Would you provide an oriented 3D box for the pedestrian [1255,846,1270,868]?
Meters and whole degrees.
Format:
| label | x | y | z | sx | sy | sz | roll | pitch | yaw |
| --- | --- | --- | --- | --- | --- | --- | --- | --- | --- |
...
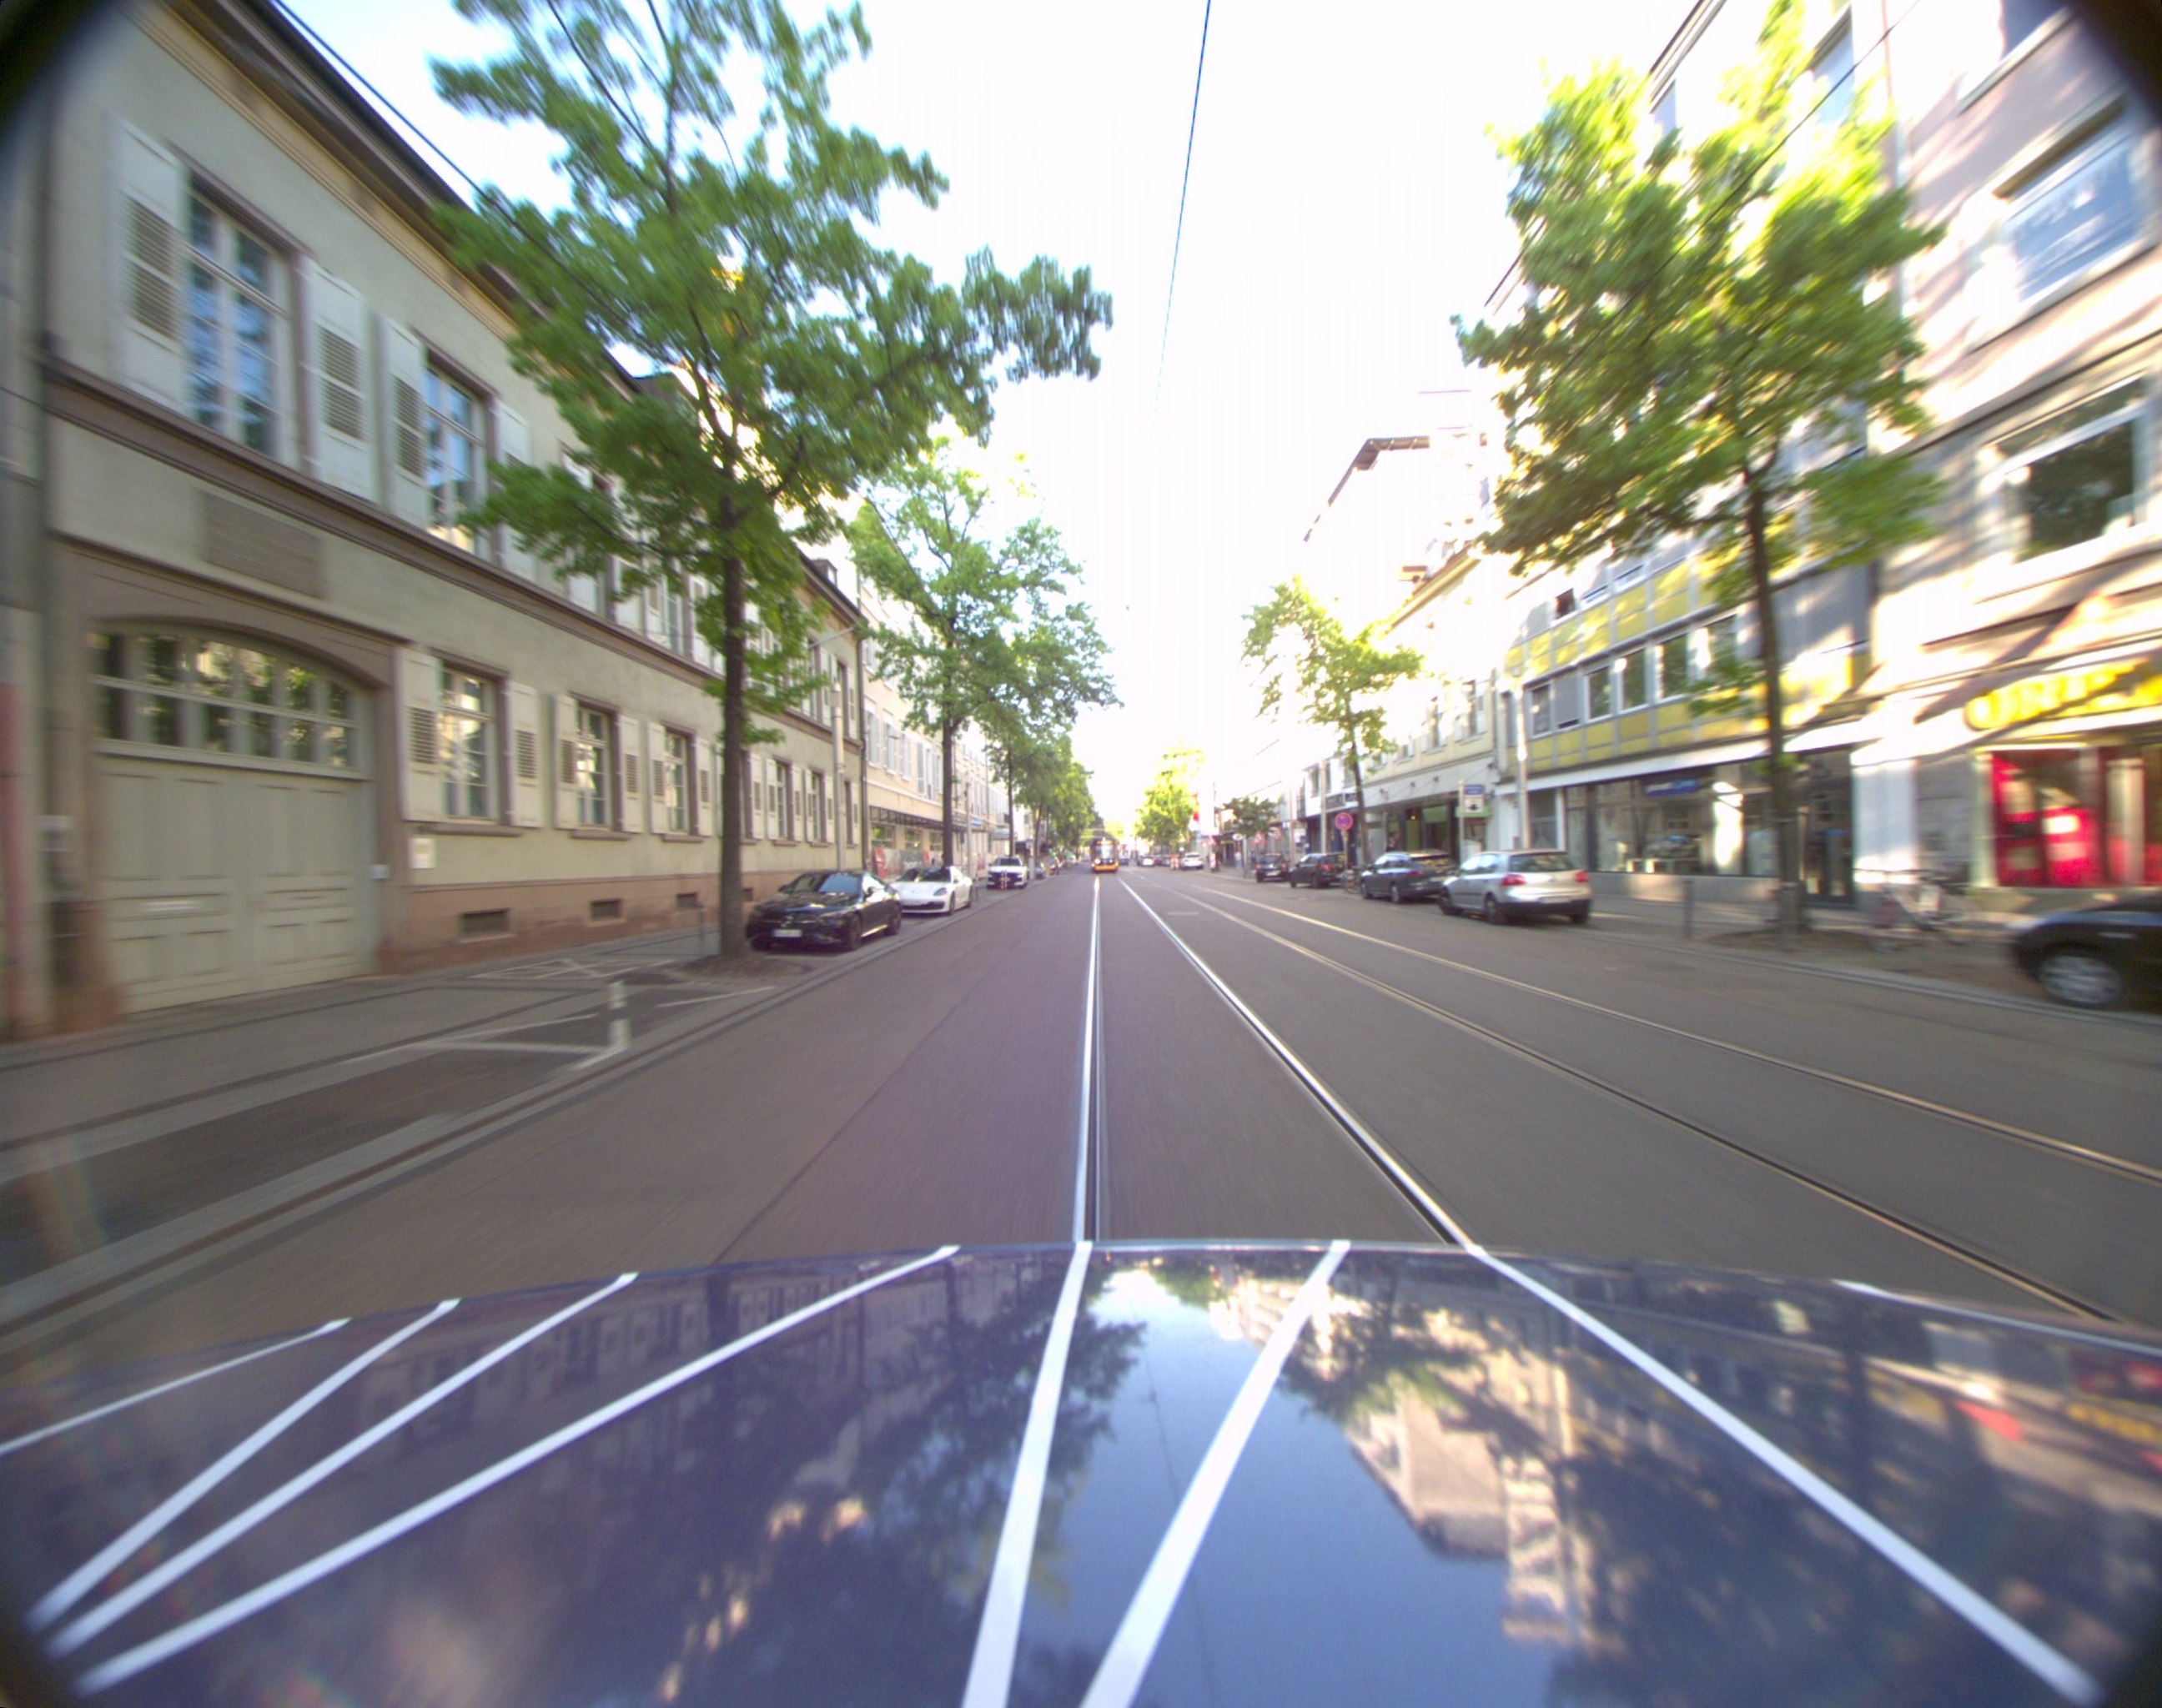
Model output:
| label | x | y | z | sx | sy | sz | roll | pitch | yaw |
| --- | --- | --- | --- | --- | --- | --- | --- | --- | --- |
| pedestrian | 14.119 | 0.231 | 59.238 | 0.834 | 1.685 | 1.038 | -4 | 0 | 2 |

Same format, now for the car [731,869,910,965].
| label | x | y | z | sx | sy | sz | roll | pitch | yaw |
| --- | --- | --- | --- | --- | --- | --- | --- | --- | --- |
| car | -4.863 | 1.088 | 14.976 | 1.837 | 1.469 | 4.761 | 0 | 0 | 1 |

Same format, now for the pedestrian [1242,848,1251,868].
| label | x | y | z | sx | sy | sz | roll | pitch | yaw |
| --- | --- | --- | --- | --- | --- | --- | --- | --- | --- |
| pedestrian | 14.249 | 0.326 | 65.497 | 0.628 | 1.703 | 0.808 | -3 | 0 | 5 |

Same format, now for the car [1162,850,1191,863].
| label | x | y | z | sx | sy | sz | roll | pitch | yaw |
| --- | --- | --- | --- | --- | --- | --- | --- | --- | --- |
| car | 13.136 | 0.389 | 104.460 | 3.403 | 1.551 | 1.786 | -5 | 1 | -21 |

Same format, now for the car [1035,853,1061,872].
| label | x | y | z | sx | sy | sz | roll | pitch | yaw |
| --- | --- | --- | --- | --- | --- | --- | --- | --- | --- |
| car | -3.193 | 0.760 | 73.941 | 1.956 | 1.782 | 4.317 | 0 | 0 | 5 |

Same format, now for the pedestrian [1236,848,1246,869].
| label | x | y | z | sx | sy | sz | roll | pitch | yaw |
| --- | --- | --- | --- | --- | --- | --- | --- | --- | --- |
| pedestrian | 13.372 | 0.370 | 63.612 | 0.643 | 1.703 | 0.829 | -3 | 0 | 5 |

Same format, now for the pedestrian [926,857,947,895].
| label | x | y | z | sx | sy | sz | roll | pitch | yaw |
| --- | --- | --- | --- | --- | --- | --- | --- | --- | --- |
| pedestrian | -6.150 | 0.929 | 32.347 | 0.650 | 1.564 | 0.798 | -2 | 1 | 1 |

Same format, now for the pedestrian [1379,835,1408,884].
| label | x | y | z | sx | sy | sz | roll | pitch | yaw |
| --- | --- | --- | --- | --- | --- | --- | --- | --- | --- |
| pedestrian | 12.166 | 0.220 | 29.577 | 0.661 | 1.815 | 0.878 | -4 | 0 | 2 |

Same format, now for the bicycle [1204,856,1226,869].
| label | x | y | z | sx | sy | sz | roll | pitch | yaw |
| --- | --- | --- | --- | --- | --- | --- | --- | --- | --- |
| bicycle | 11.597 | 0.737 | 65.806 | 1.748 | 0.986 | 0.478 | -5 | 0 | 9 |

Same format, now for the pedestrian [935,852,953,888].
| label | x | y | z | sx | sy | sz | roll | pitch | yaw |
| --- | --- | --- | --- | --- | --- | --- | --- | --- | --- |
| pedestrian | -7.215 | 0.826 | 40.110 | 0.714 | 1.876 | 1.053 | 0 | 0 | 2 |

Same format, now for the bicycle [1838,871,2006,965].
| label | x | y | z | sx | sy | sz | roll | pitch | yaw |
| --- | --- | --- | --- | --- | --- | --- | --- | --- | --- |
| bicycle | 10.637 | 0.792 | 9.621 | 1.815 | 1.058 | 0.440 | -3 | 1 | -7 |

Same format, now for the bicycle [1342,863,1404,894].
| label | x | y | z | sx | sy | sz | roll | pitch | yaw |
| --- | --- | --- | --- | --- | --- | --- | --- | --- | --- |
| bicycle | 10.056 | 0.858 | 26.190 | 1.975 | 0.995 | 0.330 | -2 | 1 | 4 |

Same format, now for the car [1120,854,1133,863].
| label | x | y | z | sx | sy | sz | roll | pitch | yaw |
| --- | --- | --- | --- | --- | --- | --- | --- | --- | --- |
| car | 7.271 | 0.652 | 121.706 | 1.783 | 1.399 | 4.528 | -2 | 0 | 2 |

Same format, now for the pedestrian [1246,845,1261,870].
| label | x | y | z | sx | sy | sz | roll | pitch | yaw |
| --- | --- | --- | --- | --- | --- | --- | --- | --- | --- |
| pedestrian | 12.692 | 0.261 | 56.037 | 0.853 | 1.756 | 0.832 | -2 | 0 | -1 |

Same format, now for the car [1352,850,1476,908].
| label | x | y | z | sx | sy | sz | roll | pitch | yaw |
| --- | --- | --- | --- | --- | --- | --- | --- | --- | --- |
| car | 9.643 | 0.660 | 22.428 | 1.715 | 1.452 | 4.486 | -3 | 0 | 2 |

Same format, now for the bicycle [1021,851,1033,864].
| label | x | y | z | sx | sy | sz | roll | pitch | yaw |
| --- | --- | --- | --- | --- | --- | --- | --- | --- | --- |
| bicycle | -4.726 | 0.308 | 66.912 | 0.656 | 1.064 | 1.672 | 0 | -1 | -18 |

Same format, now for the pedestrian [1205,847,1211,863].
| label | x | y | z | sx | sy | sz | roll | pitch | yaw |
| --- | --- | --- | --- | --- | --- | --- | --- | --- | --- |
| pedestrian | 15.819 | 0.095 | 94.454 | 0.616 | 2.002 | 0.592 | -2 | 0 | 0 |

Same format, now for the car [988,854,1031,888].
| label | x | y | z | sx | sy | sz | roll | pitch | yaw |
| --- | --- | --- | --- | --- | --- | --- | --- | --- | --- |
| car | -3.816 | 0.889 | 41.461 | 2.003 | 1.678 | 4.966 | 0 | 1 | -2 |

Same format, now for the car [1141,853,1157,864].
| label | x | y | z | sx | sy | sz | roll | pitch | yaw |
| --- | --- | --- | --- | --- | --- | --- | --- | --- | --- |
| car | 9.417 | 0.611 | 105.579 | 1.889 | 1.602 | 4.201 | 0 | 0 | 1 |

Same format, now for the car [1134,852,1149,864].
| label | x | y | z | sx | sy | sz | roll | pitch | yaw |
| --- | --- | --- | --- | --- | --- | --- | --- | --- | --- |
| car | 9.397 | 0.663 | 117.859 | 2.039 | 1.796 | 4.201 | -1 | 0 | 1 |

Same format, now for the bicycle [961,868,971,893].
| label | x | y | z | sx | sy | sz | roll | pitch | yaw |
| --- | --- | --- | --- | --- | --- | --- | --- | --- | --- |
| bicycle | -5.390 | 1.242 | 35.600 | 0.419 | 1.094 | 1.986 | 0 | 0 | -8 |

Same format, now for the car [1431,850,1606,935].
| label | x | y | z | sx | sy | sz | roll | pitch | yaw |
| --- | --- | --- | --- | --- | --- | --- | --- | --- | --- |
| car | 9.015 | 0.713 | 16.076 | 1.770 | 1.488 | 4.177 | -2 | 1 | 8 |

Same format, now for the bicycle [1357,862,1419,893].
| label | x | y | z | sx | sy | sz | roll | pitch | yaw |
| --- | --- | --- | --- | --- | --- | --- | --- | --- | --- |
| bicycle | 10.735 | 0.820 | 26.613 | 1.975 | 0.995 | 0.419 | -2 | 1 | 6 |

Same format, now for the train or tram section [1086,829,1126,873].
| label | x | y | z | sx | sy | sz | roll | pitch | yaw |
| --- | --- | --- | --- | --- | --- | --- | --- | --- | --- |
| train or tram section | 2.507 | -0.206 | 78.015 | 3.607 | 3.974 | 15.717 | -2 | 0 | 2 |

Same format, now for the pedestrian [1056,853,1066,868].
| label | x | y | z | sx | sy | sz | roll | pitch | yaw |
| --- | --- | --- | --- | --- | --- | --- | --- | --- | --- |
| pedestrian | -2.509 | 0.817 | 96.519 | 0.771 | 1.922 | 0.875 | -1 | 0 | 42 |

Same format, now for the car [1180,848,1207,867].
| label | x | y | z | sx | sy | sz | roll | pitch | yaw |
| --- | --- | --- | --- | --- | --- | --- | --- | --- | --- |
| car | 11.342 | 0.378 | 77.091 | 1.998 | 1.744 | 4.745 | -4 | 0 | 1 |

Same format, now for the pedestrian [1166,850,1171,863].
| label | x | y | z | sx | sy | sz | roll | pitch | yaw |
| --- | --- | --- | --- | --- | --- | --- | --- | --- | --- |
| pedestrian | 12.639 | 0.380 | 109.935 | 0.656 | 1.922 | 0.723 | -2 | 0 | 3 |

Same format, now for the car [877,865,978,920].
| label | x | y | z | sx | sy | sz | roll | pitch | yaw |
| --- | --- | --- | --- | --- | --- | --- | --- | --- | --- |
| car | -4.520 | 1.088 | 23.181 | 1.917 | 1.412 | 4.888 | 1 | 0 | 2 |

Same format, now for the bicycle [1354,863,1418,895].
| label | x | y | z | sx | sy | sz | roll | pitch | yaw |
| --- | --- | --- | --- | --- | --- | --- | --- | --- | --- |
| bicycle | 10.347 | 0.848 | 25.795 | 1.975 | 0.995 | 0.330 | -2 | 1 | 4 |

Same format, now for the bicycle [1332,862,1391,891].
| label | x | y | z | sx | sy | sz | roll | pitch | yaw |
| --- | --- | --- | --- | --- | --- | --- | --- | --- | --- |
| bicycle | 10.281 | 0.834 | 27.878 | 1.975 | 0.995 | 0.330 | -2 | 1 | 4 |

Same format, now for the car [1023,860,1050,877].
| label | x | y | z | sx | sy | sz | roll | pitch | yaw |
| --- | --- | --- | --- | --- | --- | --- | --- | --- | --- |
| car | -3.537 | 1.124 | 61.104 | 1.798 | 1.304 | 4.330 | 0 | 0 | 2 |

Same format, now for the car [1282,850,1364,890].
| label | x | y | z | sx | sy | sz | roll | pitch | yaw |
| --- | --- | --- | --- | --- | --- | --- | --- | --- | --- |
| car | 10.208 | 0.640 | 32.359 | 1.797 | 1.481 | 4.240 | -3 | 0 | -5 |

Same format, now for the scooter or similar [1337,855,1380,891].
| label | x | y | z | sx | sy | sz | roll | pitch | yaw |
| --- | --- | --- | --- | --- | --- | --- | --- | --- | --- |
| scooter or similar | 10.470 | 0.729 | 28.718 | 1.422 | 1.263 | 0.375 | -4 | 0 | 6 |

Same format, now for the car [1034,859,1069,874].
| label | x | y | z | sx | sy | sz | roll | pitch | yaw |
| --- | --- | --- | --- | --- | --- | --- | --- | --- | --- |
| car | -3.547 | 1.457 | 91.709 | 3.937 | 1.599 | 1.867 | -2 | 2 | 8 |

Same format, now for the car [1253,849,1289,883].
| label | x | y | z | sx | sy | sz | roll | pitch | yaw |
| --- | --- | --- | --- | --- | --- | --- | --- | --- | --- |
| car | 10.223 | 0.600 | 40.676 | 1.632 | 1.606 | 3.712 | -4 | 0 | 16 |

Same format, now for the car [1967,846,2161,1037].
| label | x | y | z | sx | sy | sz | roll | pitch | yaw |
| --- | --- | --- | --- | --- | --- | --- | --- | --- | --- |
| car | 9.448 | 0.701 | 5.452 | 1.670 | 1.420 | 3.827 | -4 | 0 | 1 |
